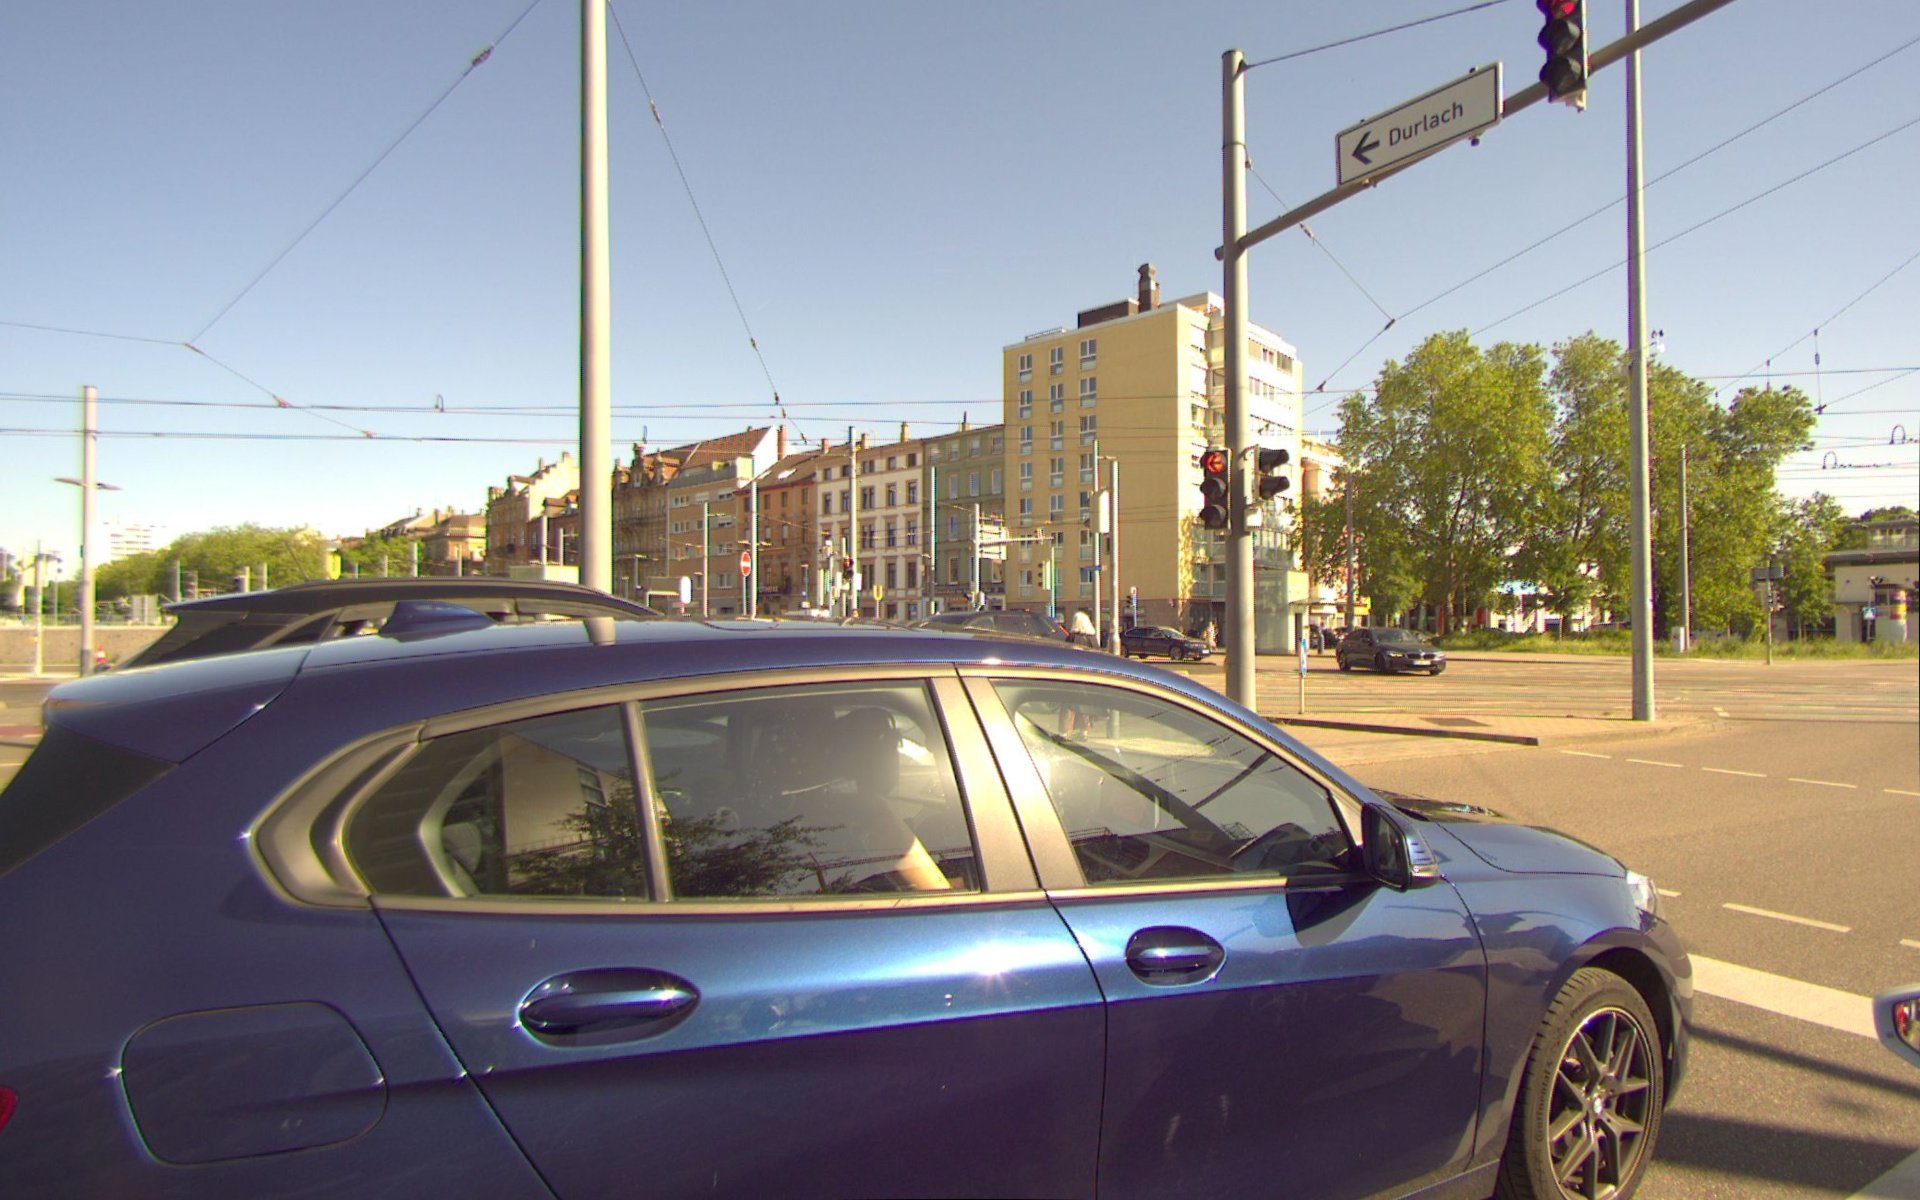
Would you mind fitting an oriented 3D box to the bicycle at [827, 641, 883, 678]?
[{"bbox_3d":[-2.788,1.554,26.534,0.672,0.890,1.880,1,-2,-35],"label":"bicycle"}]

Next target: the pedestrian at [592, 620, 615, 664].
[{"bbox_3d":[-14.245,1.664,40.119,0.672,1.735,0.793,1,-1,-38],"label":"pedestrian"}]

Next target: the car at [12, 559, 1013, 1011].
[{"bbox_3d":[-1.871,0.667,5.136,3.959,1.537,1.751,1,-1,-28],"label":"car"}]

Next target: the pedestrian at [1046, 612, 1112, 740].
[{"bbox_3d":[1.491,0.940,12.625,0.747,1.575,0.357,0,-1,-11],"label":"pedestrian"}]

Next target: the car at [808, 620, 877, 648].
[{"bbox_3d":[-7.288,2.074,62.168,4.244,1.675,1.849,-1,-2,40],"label":"car"}]

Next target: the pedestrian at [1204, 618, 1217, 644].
[{"bbox_3d":[15.147,1.885,60.795,0.701,1.581,0.557,0,-1,19],"label":"pedestrian"}]

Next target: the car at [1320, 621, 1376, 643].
[{"bbox_3d":[29.851,2.442,77.370,3.691,1.684,1.586,-1,-2,42],"label":"car"}]

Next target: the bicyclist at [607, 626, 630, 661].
[{"bbox_3d":[-14.528,1.824,42.743,0.673,1.474,0.775,1,-2,-42],"label":"bicyclist"}]

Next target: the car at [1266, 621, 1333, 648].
[{"bbox_3d":[21.562,2.198,63.861,3.691,1.684,1.586,-1,-2,42],"label":"car"}]

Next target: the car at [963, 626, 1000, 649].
[{"bbox_3d":[1.373,2.490,66.994,1.745,1.446,3.873,0,-2,-10],"label":"car"}]

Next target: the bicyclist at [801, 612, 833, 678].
[{"bbox_3d":[-3.718,1.170,26.171,0.668,1.676,0.781,0,-1,-21],"label":"bicyclist"}]

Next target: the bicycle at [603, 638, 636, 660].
[{"bbox_3d":[-14.447,2.068,42.608,0.673,0.890,1.875,1,-2,-42],"label":"bicycle"}]

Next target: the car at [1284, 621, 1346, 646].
[{"bbox_3d":[24.382,2.283,69.054,3.691,1.684,1.586,-1,-2,42],"label":"car"}]

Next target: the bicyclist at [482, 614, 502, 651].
[{"bbox_3d":[-22.154,1.555,47.571,0.610,1.735,0.674,-1,-2,45],"label":"bicyclist"}]

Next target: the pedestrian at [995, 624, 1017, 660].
[{"bbox_3d":[2.078,1.892,45.242,0.669,1.593,0.740,1,-2,-45],"label":"pedestrian"}]

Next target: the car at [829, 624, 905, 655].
[{"bbox_3d":[-5.193,2.167,55.708,4.247,1.675,1.848,-1,-2,42],"label":"car"}]

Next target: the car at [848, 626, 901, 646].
[{"bbox_3d":[-6.302,2.650,74.452,1.749,1.446,3.863,-1,-2,39],"label":"car"}]

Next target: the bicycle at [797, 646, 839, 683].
[{"bbox_3d":[-3.714,1.660,26.159,0.668,0.890,1.889,1,-2,-21],"label":"bicycle"}]

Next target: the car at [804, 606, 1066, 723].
[{"bbox_3d":[-0.326,0.978,16.394,4.040,1.681,1.848,1,-2,-41],"label":"car"}]

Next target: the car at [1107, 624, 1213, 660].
[{"bbox_3d":[8.494,1.774,42.818,4.113,1.457,1.720,-1,-2,39],"label":"car"}]

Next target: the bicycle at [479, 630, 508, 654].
[{"bbox_3d":[-22.129,1.962,47.633,0.674,1.120,1.873,1,-2,-45],"label":"bicycle"}]

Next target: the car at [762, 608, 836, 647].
[{"bbox_3d":[-11.772,1.995,73.266,5.838,2.780,2.133,-1,-2,42],"label":"car"}]

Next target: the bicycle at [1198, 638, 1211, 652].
[{"bbox_3d":[14.795,2.725,60.776,0.478,0.822,1.612,-1,-2,23],"label":"bicycle"}]

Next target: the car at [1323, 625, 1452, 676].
[{"bbox_3d":[13.425,1.546,31.857,1.829,1.521,4.565,0,-2,-5],"label":"car"}]

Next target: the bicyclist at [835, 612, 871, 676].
[{"bbox_3d":[-2.836,1.160,26.604,0.672,1.676,0.777,1,-1,-35],"label":"bicyclist"}]

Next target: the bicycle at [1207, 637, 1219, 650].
[{"bbox_3d":[15.734,2.706,62.537,0.451,0.790,1.808,-1,-2,23],"label":"bicycle"}]

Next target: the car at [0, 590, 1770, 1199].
[{"bbox_3d":[0.099,0.756,2.532,3.984,1.464,1.703,1,0,-30],"label":"car"}]
